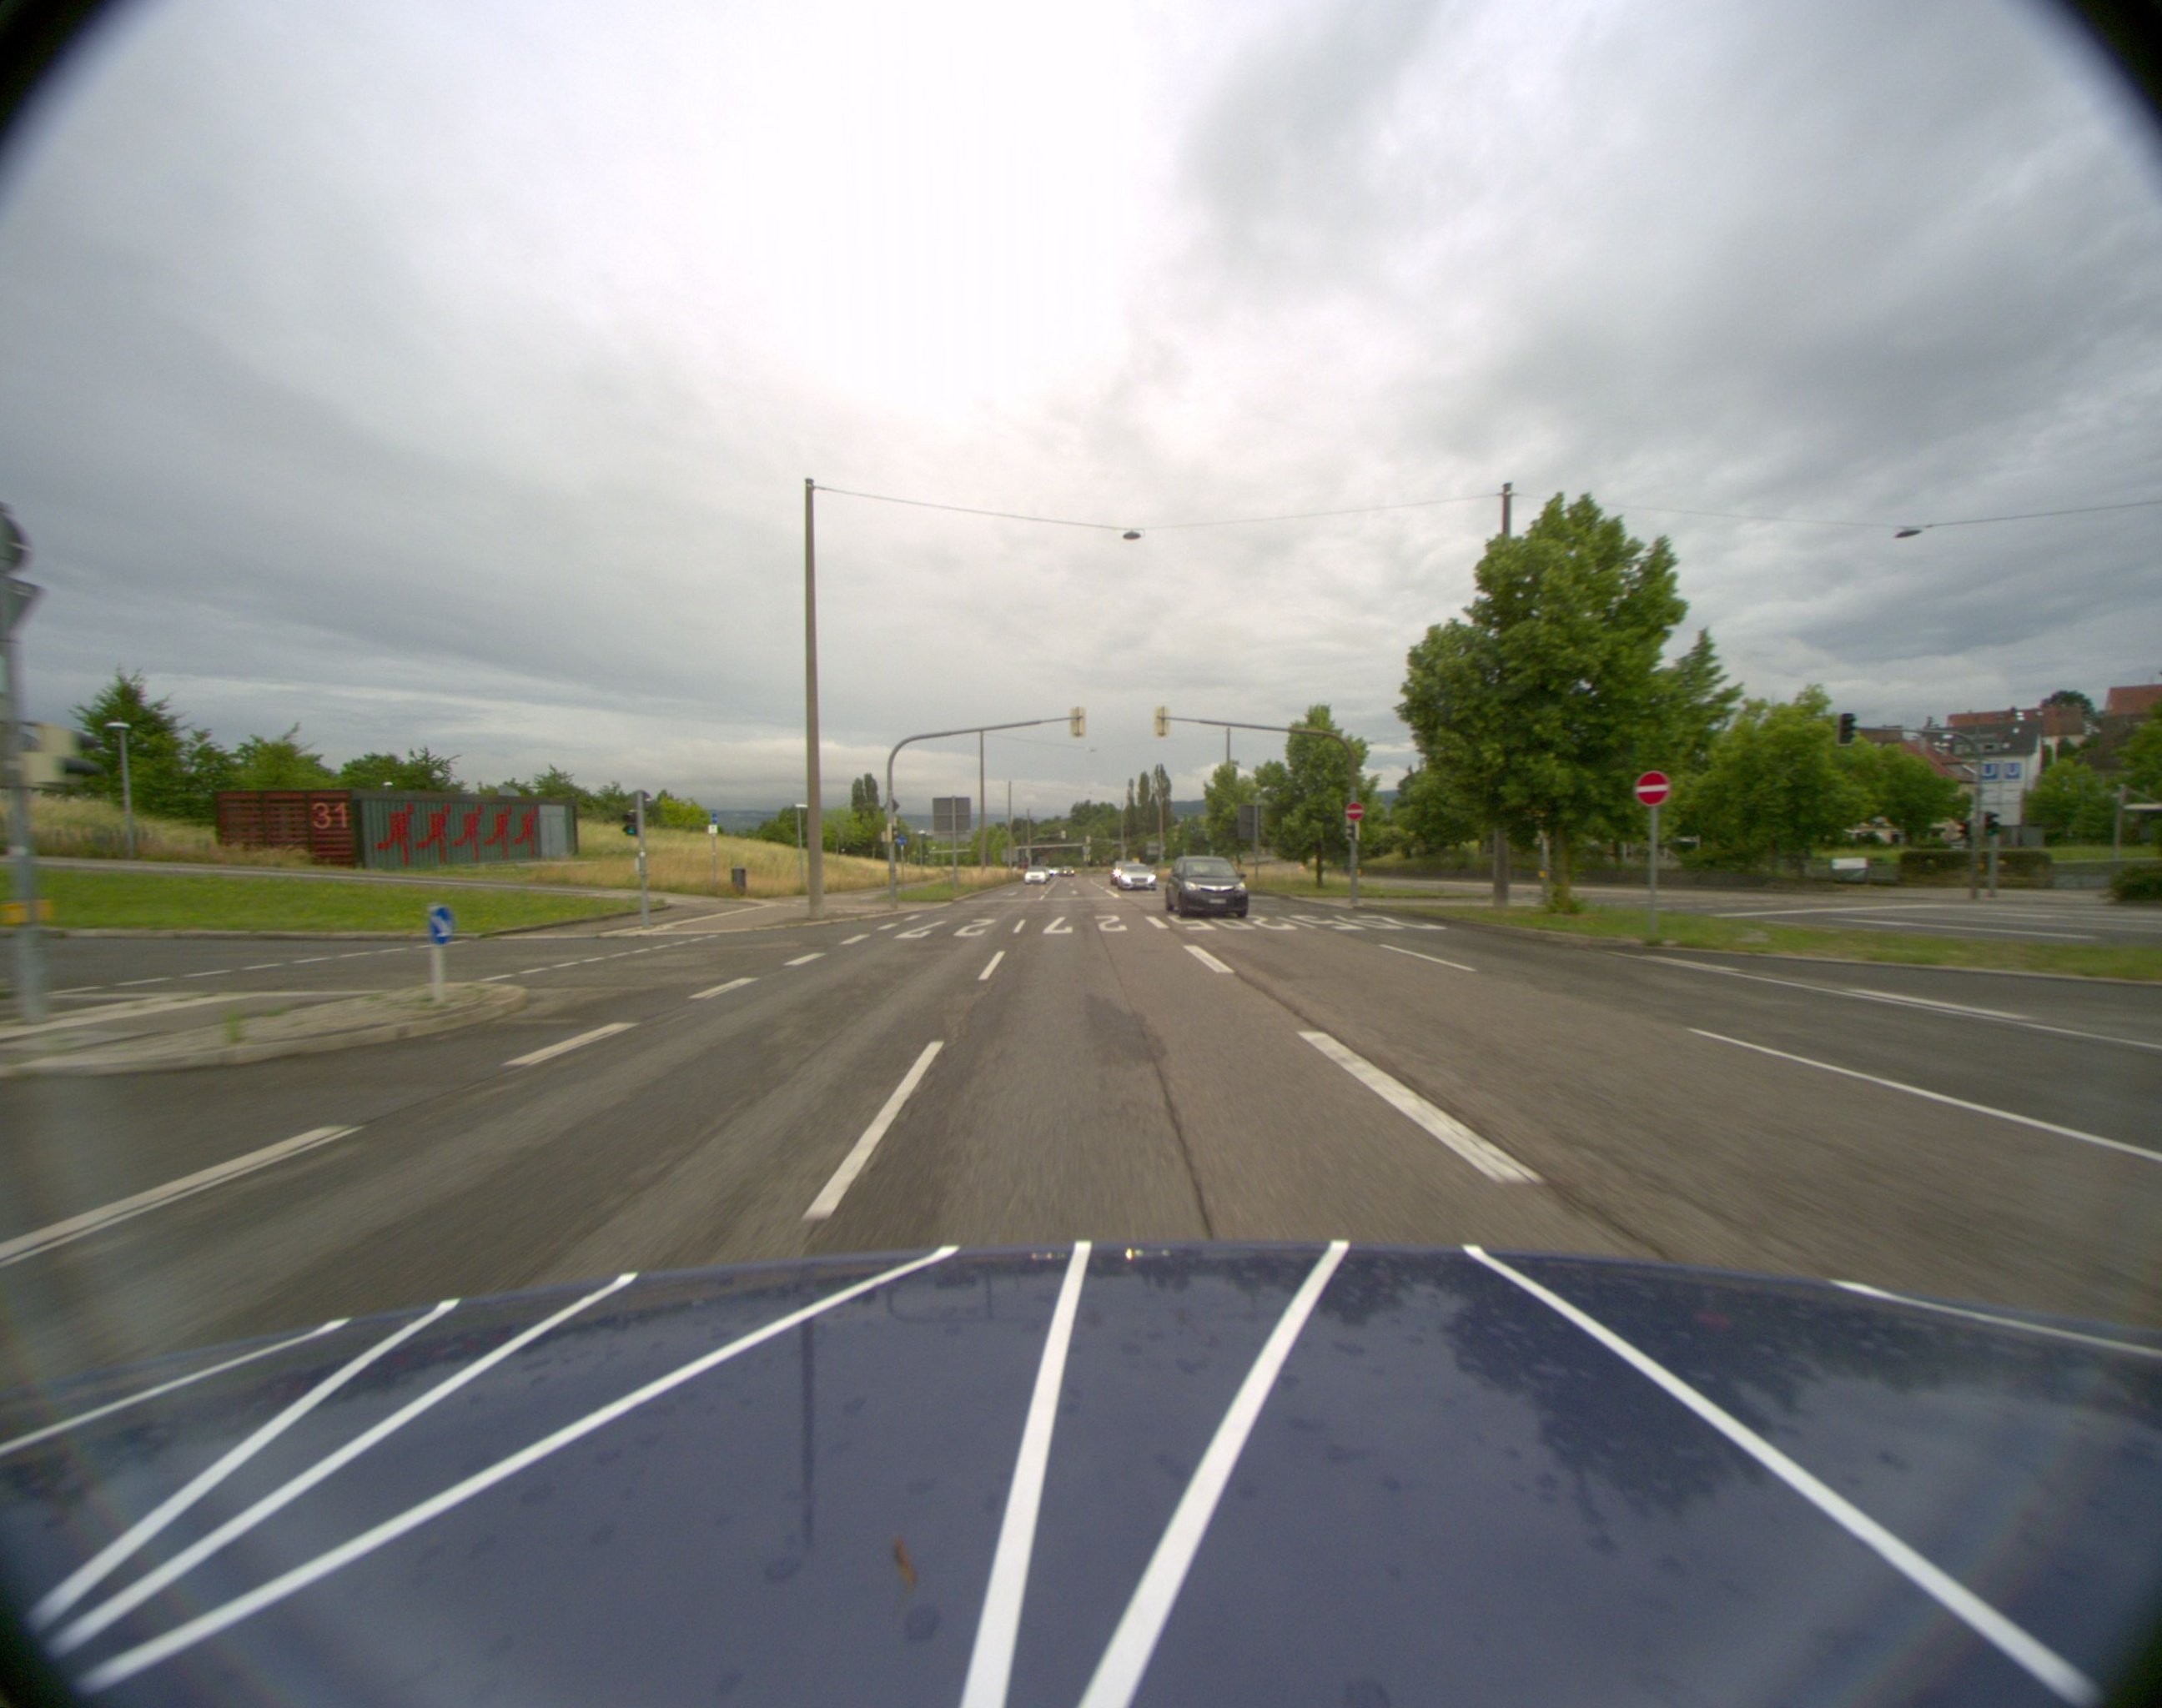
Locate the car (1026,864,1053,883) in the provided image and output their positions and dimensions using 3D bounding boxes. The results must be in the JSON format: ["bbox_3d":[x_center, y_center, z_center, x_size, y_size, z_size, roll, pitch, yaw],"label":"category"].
[{"bbox_3d":[-3.427,1.594,63.815,1.725,1.513,4.228,-1,0,3],"label":"car"}]

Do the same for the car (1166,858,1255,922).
[{"bbox_3d":[3.369,0.915,20.493,1.800,1.556,4.044,0,-1,1],"label":"car"}]

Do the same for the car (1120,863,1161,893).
[{"bbox_3d":[3.212,1.249,41.231,1.998,1.399,4.526,-3,0,4],"label":"car"}]

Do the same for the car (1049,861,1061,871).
[{"bbox_3d":[-5.048,2.343,148.162,1.999,1.633,4.626,-3,0,-5],"label":"car"}]

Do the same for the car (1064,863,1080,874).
[{"bbox_3d":[-1.388,2.219,116.909,1.999,1.633,4.626,-3,0,-5],"label":"car"}]

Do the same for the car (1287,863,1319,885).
[{"bbox_3d":[21.957,1.952,75.262,1.998,2.002,4.000,0,0,1],"label":"car"}]

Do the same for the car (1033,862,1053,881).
[{"bbox_3d":[-3.883,1.723,77.710,1.843,1.532,3.815,-4,3,-1],"label":"car"}]

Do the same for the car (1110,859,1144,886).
[{"bbox_3d":[3.109,1.229,51.900,1.927,1.725,4.025,2,0,-1],"label":"car"}]
